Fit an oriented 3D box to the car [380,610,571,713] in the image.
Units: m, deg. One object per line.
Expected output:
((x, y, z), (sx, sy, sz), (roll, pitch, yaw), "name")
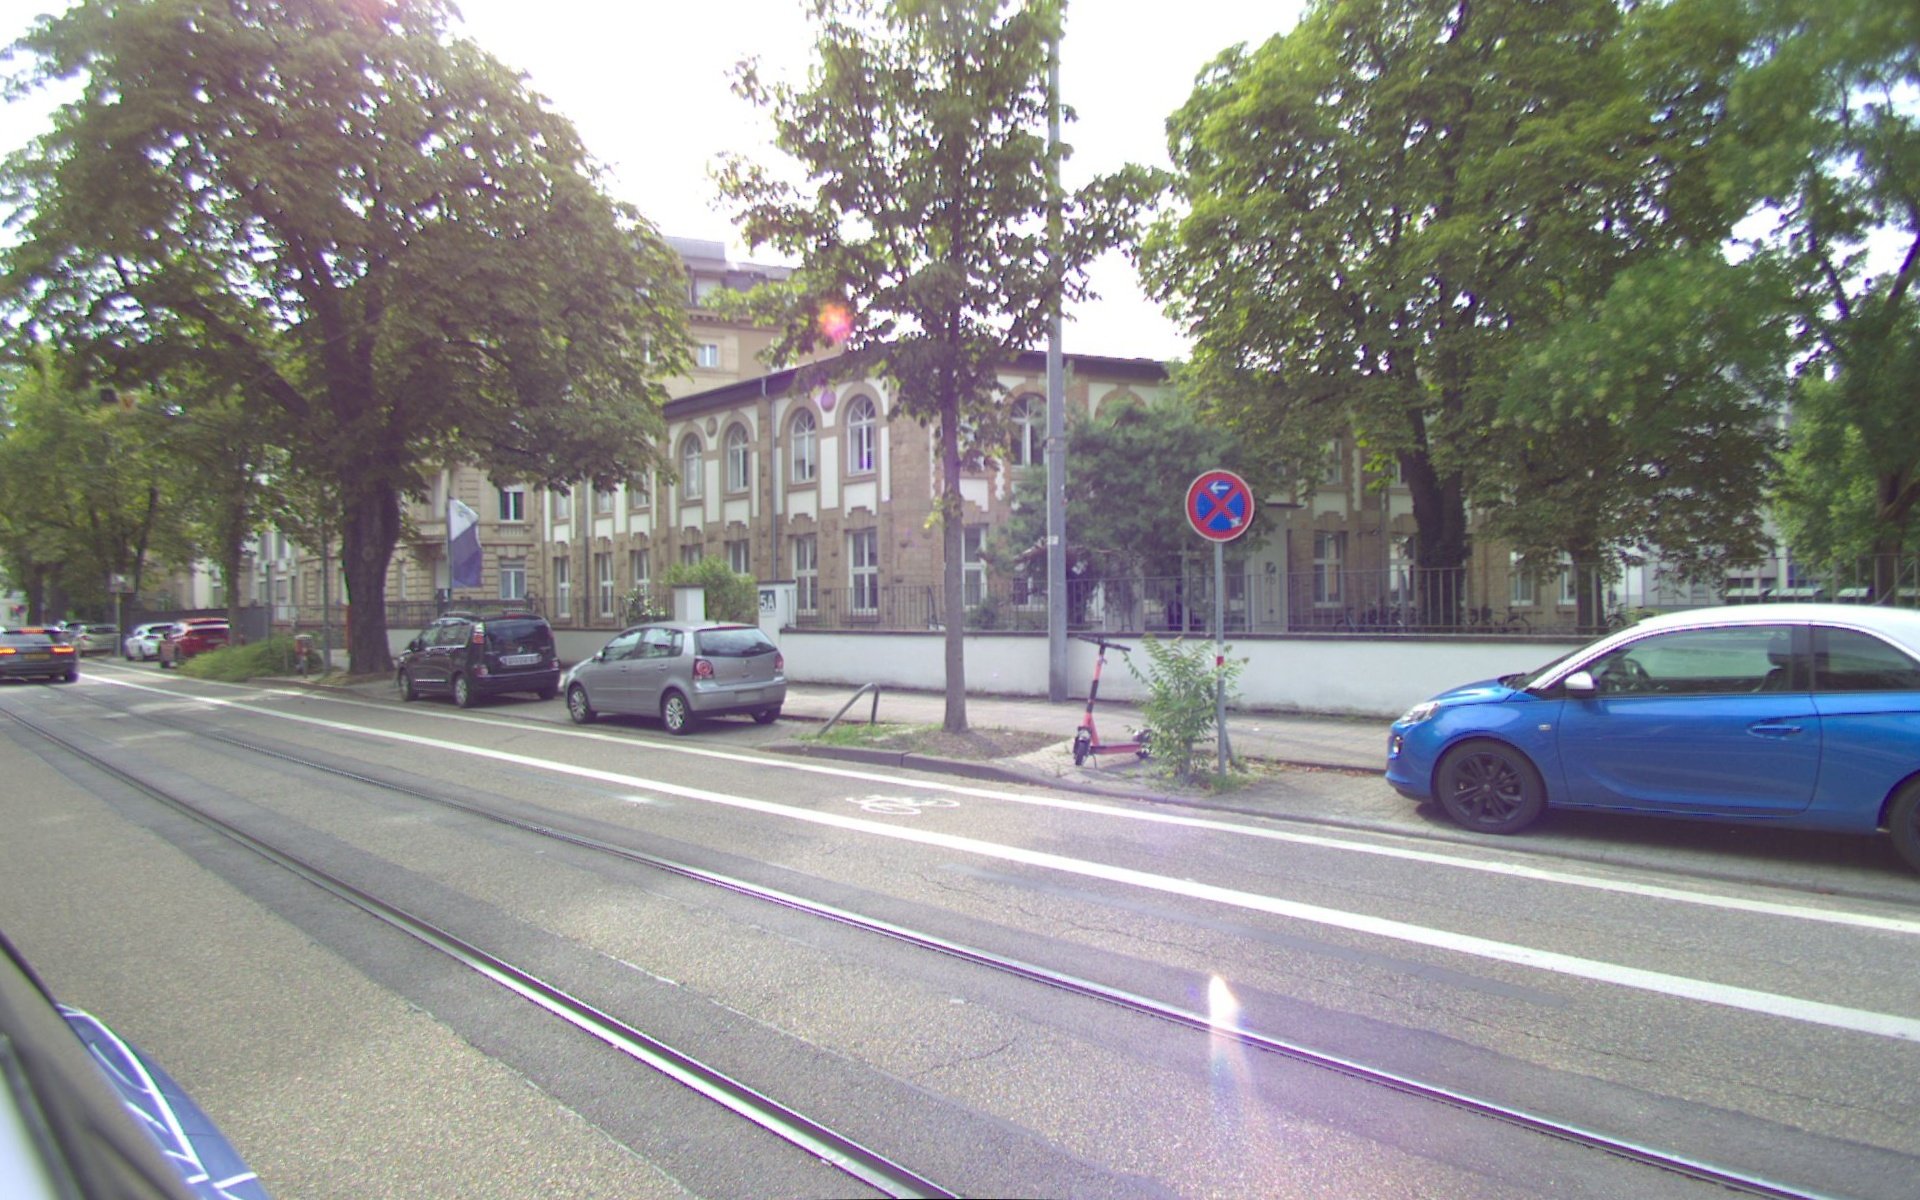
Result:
((-9.060, 1.072, 18.799), (4.050, 1.659, 1.737), (-2, 0, 41), "car")

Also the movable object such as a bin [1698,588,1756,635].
((23.448, 0.357, 30.952), (0.954, 1.385, 1.024), (-2, 0, -22), "movable object such as a bin")

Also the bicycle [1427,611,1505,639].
((15.065, 0.739, 30.186), (0.702, 0.779, 2.053), (-2, 0, -28), "bicycle")

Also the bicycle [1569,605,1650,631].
((20.603, 0.570, 32.150), (0.702, 0.779, 2.053), (-2, 0, -28), "bicycle")

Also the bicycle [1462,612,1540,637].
((16.583, 0.757, 31.058), (2.042, 0.713, 0.706), (-2, 0, 35), "bicycle")

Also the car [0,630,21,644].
((-120.498, 4.666, 126.657), (3.931, 1.644, 1.684), (-1, -1, -22), "car")

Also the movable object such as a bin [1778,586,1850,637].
((24.243, 0.331, 28.746), (0.954, 1.385, 1.208), (-2, 0, -22), "movable object such as a bin")

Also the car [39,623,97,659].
((-45.722, 2.080, 51.859), (4.355, 1.686, 1.692), (-2, -1, 42), "car")

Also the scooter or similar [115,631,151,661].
((-34.635, 1.933, 42.380), (1.313, 1.232, 0.559), (-1, -1, 19), "scooter or similar")

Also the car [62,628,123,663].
((-40.130, 2.075, 46.772), (4.077, 1.479, 1.584), (-2, -1, 42), "car")

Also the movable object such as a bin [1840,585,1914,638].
((24.833, 0.312, 27.412), (0.846, 1.385, 1.208), (-2, 0, -22), "movable object such as a bin")

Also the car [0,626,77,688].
((-24.559, 1.450, 26.330), (4.551, 1.459, 1.815), (-2, -1, 41), "car")

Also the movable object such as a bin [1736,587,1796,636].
((23.836, 0.345, 29.928), (0.954, 1.385, 1.024), (-2, 0, -22), "movable object such as a bin")

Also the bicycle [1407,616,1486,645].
((14.258, 0.879, 29.696), (0.702, 0.779, 2.053), (-2, 0, -28), "bicycle")

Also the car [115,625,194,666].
((-32.149, 1.777, 40.358), (4.021, 1.434, 1.704), (-2, 1, 41), "car")

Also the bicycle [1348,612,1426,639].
((12.174, 0.721, 28.893), (0.702, 0.713, 2.053), (-2, 0, -28), "bicycle")

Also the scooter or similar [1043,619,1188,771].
((1.522, 0.862, 9.793), (0.700, 1.354, 1.427), (-2, -2, 43), "scooter or similar")

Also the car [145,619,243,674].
((-25.969, 1.526, 34.270), (4.540, 1.667, 1.704), (-2, 1, 41), "car")

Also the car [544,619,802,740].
((-4.155, 1.028, 14.370), (3.866, 1.438, 1.675), (-2, 0, 41), "car")

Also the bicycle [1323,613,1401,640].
((11.304, 0.747, 28.536), (0.702, 0.713, 2.053), (-2, 0, -28), "bicycle")

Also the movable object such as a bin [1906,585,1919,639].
((25.260, 0.297, 26.020), (0.846, 1.385, 1.097), (-2, 0, -22), "movable object such as a bin")

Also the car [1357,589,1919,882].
((4.746, 0.718, 6.571), (3.675, 1.498, 1.675), (-2, 0, 41), "car")
